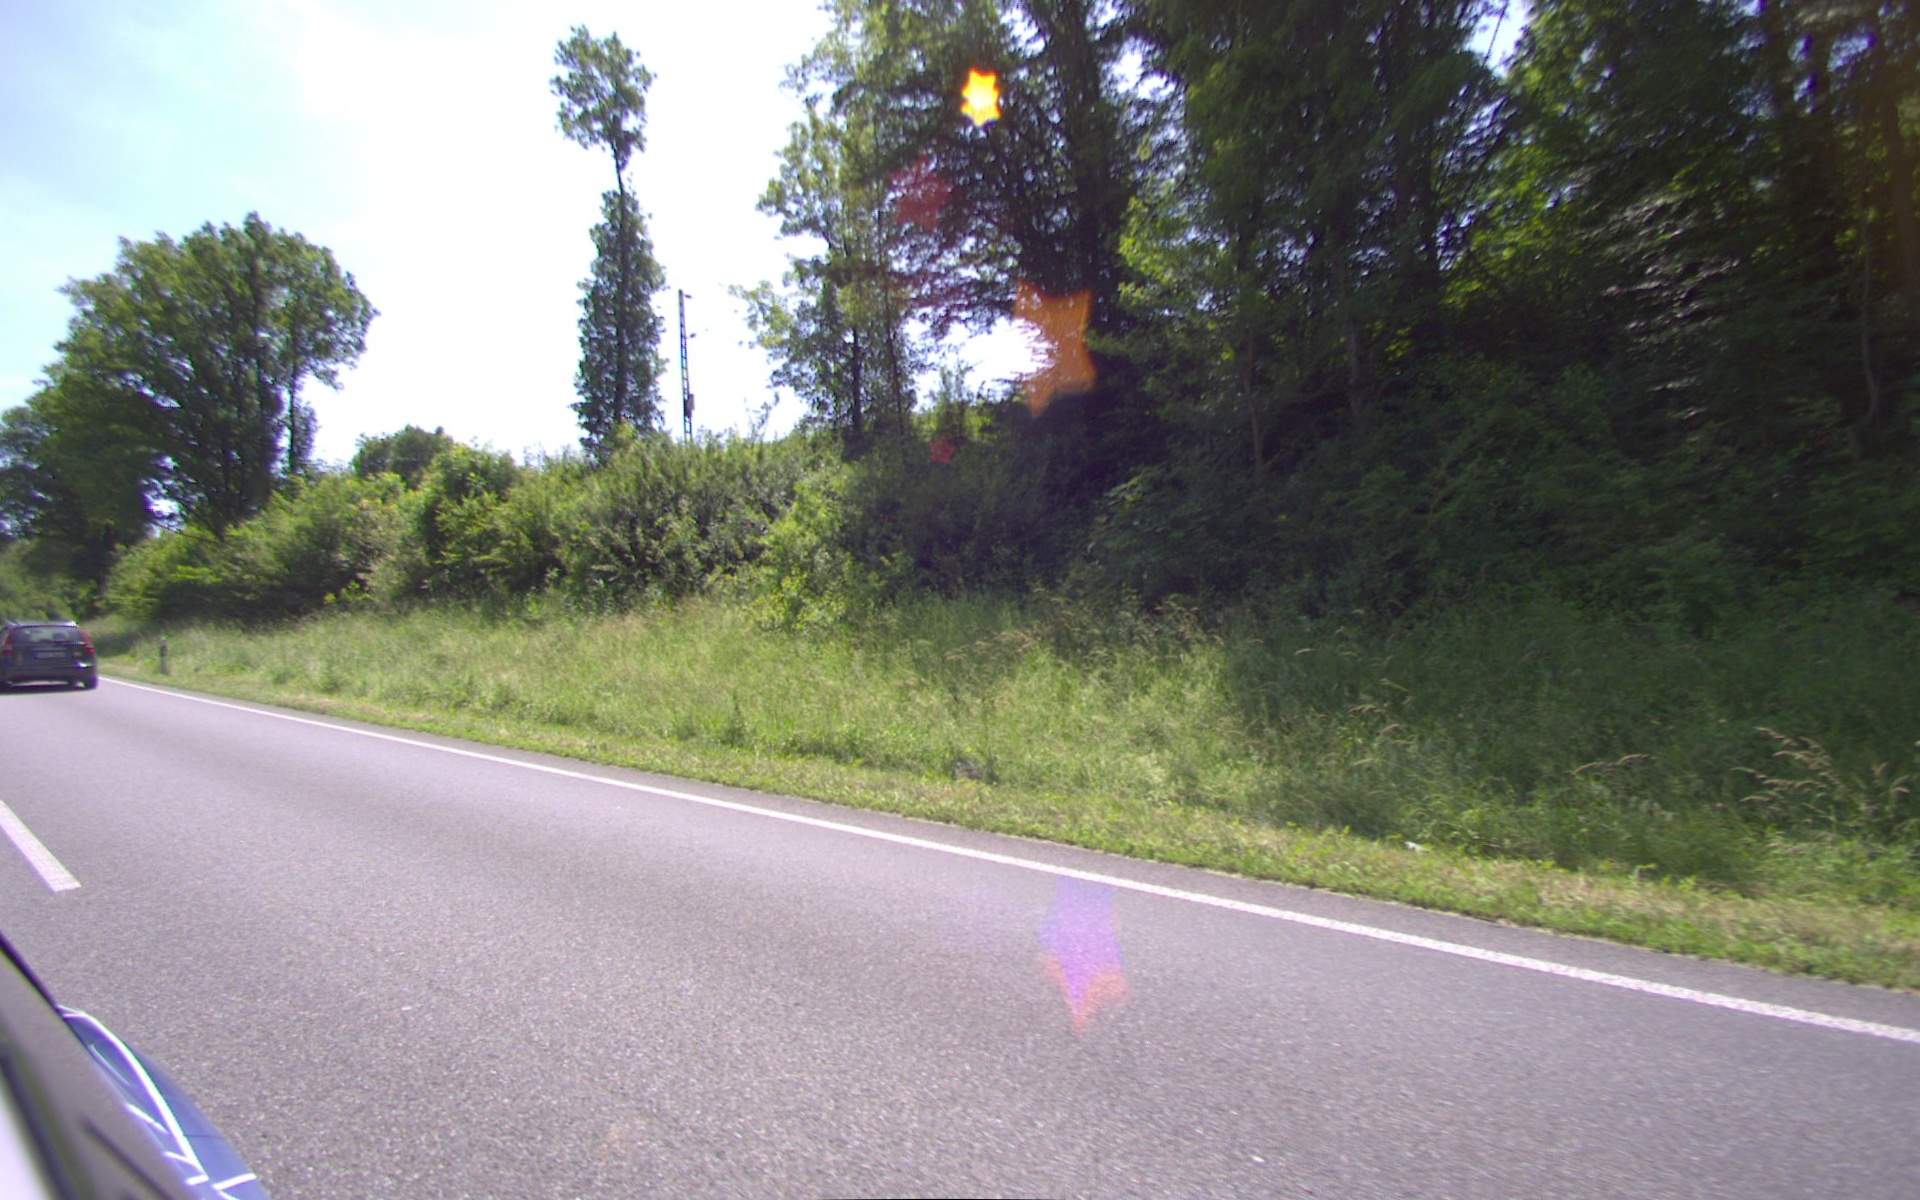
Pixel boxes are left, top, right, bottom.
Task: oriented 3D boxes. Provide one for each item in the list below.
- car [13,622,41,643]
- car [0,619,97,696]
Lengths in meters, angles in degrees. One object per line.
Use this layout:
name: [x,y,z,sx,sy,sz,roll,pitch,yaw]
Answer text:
car: [-91.281,3.183,99.056,1.969,2.029,4.005,0,-1,-42]
car: [-21.087,1.245,23.003,4.217,1.582,1.752,-2,-1,43]
